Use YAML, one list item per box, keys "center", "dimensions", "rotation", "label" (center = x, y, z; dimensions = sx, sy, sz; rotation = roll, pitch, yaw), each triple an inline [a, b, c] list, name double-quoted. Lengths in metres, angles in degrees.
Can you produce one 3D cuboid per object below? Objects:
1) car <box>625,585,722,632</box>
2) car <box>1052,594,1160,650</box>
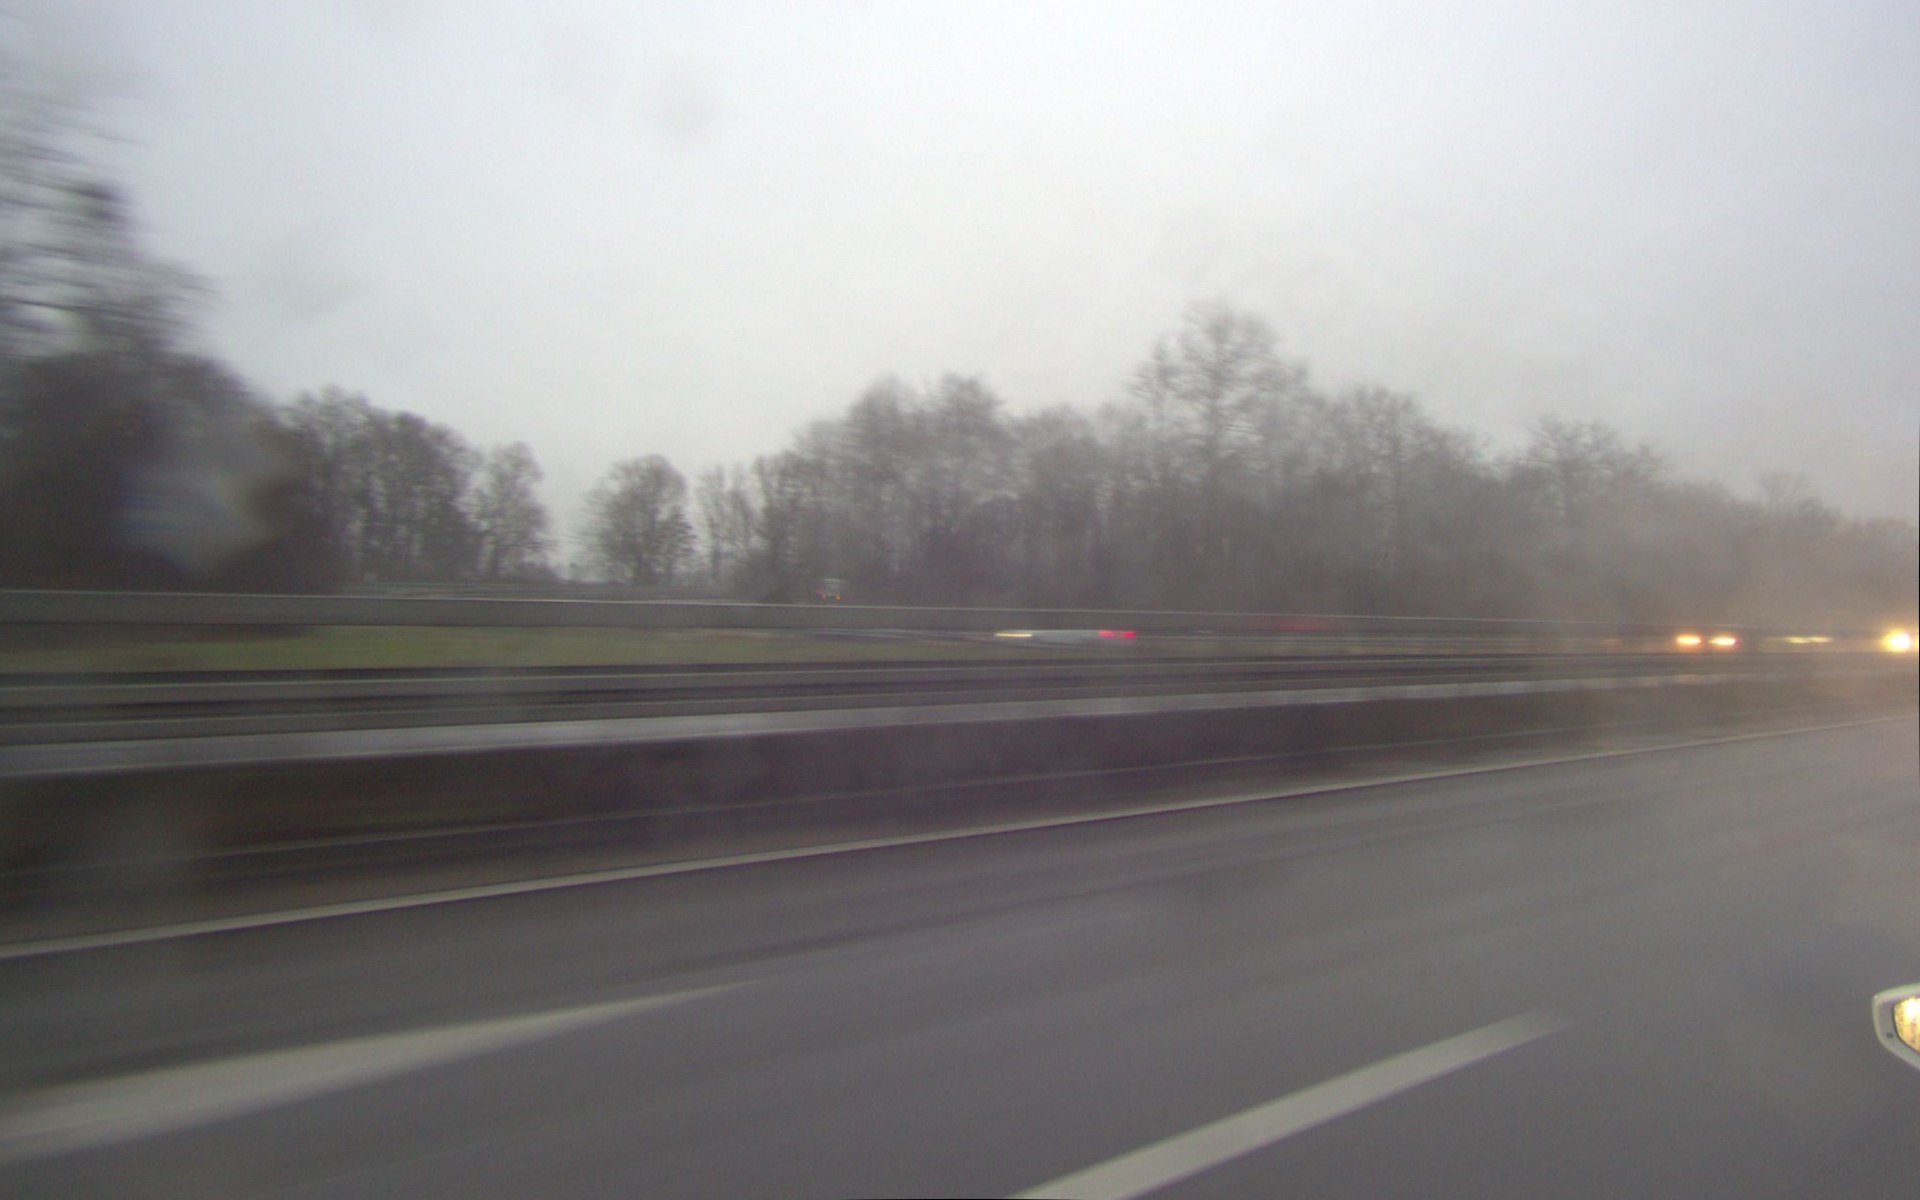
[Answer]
- center: [-13.057, 0.378, 45.774]
  dimensions: [3.925, 2.040, 1.998]
  rotation: [1, 0, 26]
  label: "car"
- center: [5.659, 0.846, 39.248]
  dimensions: [3.921, 2.040, 2.000]
  rotation: [2, 0, 1]
  label: "car"
